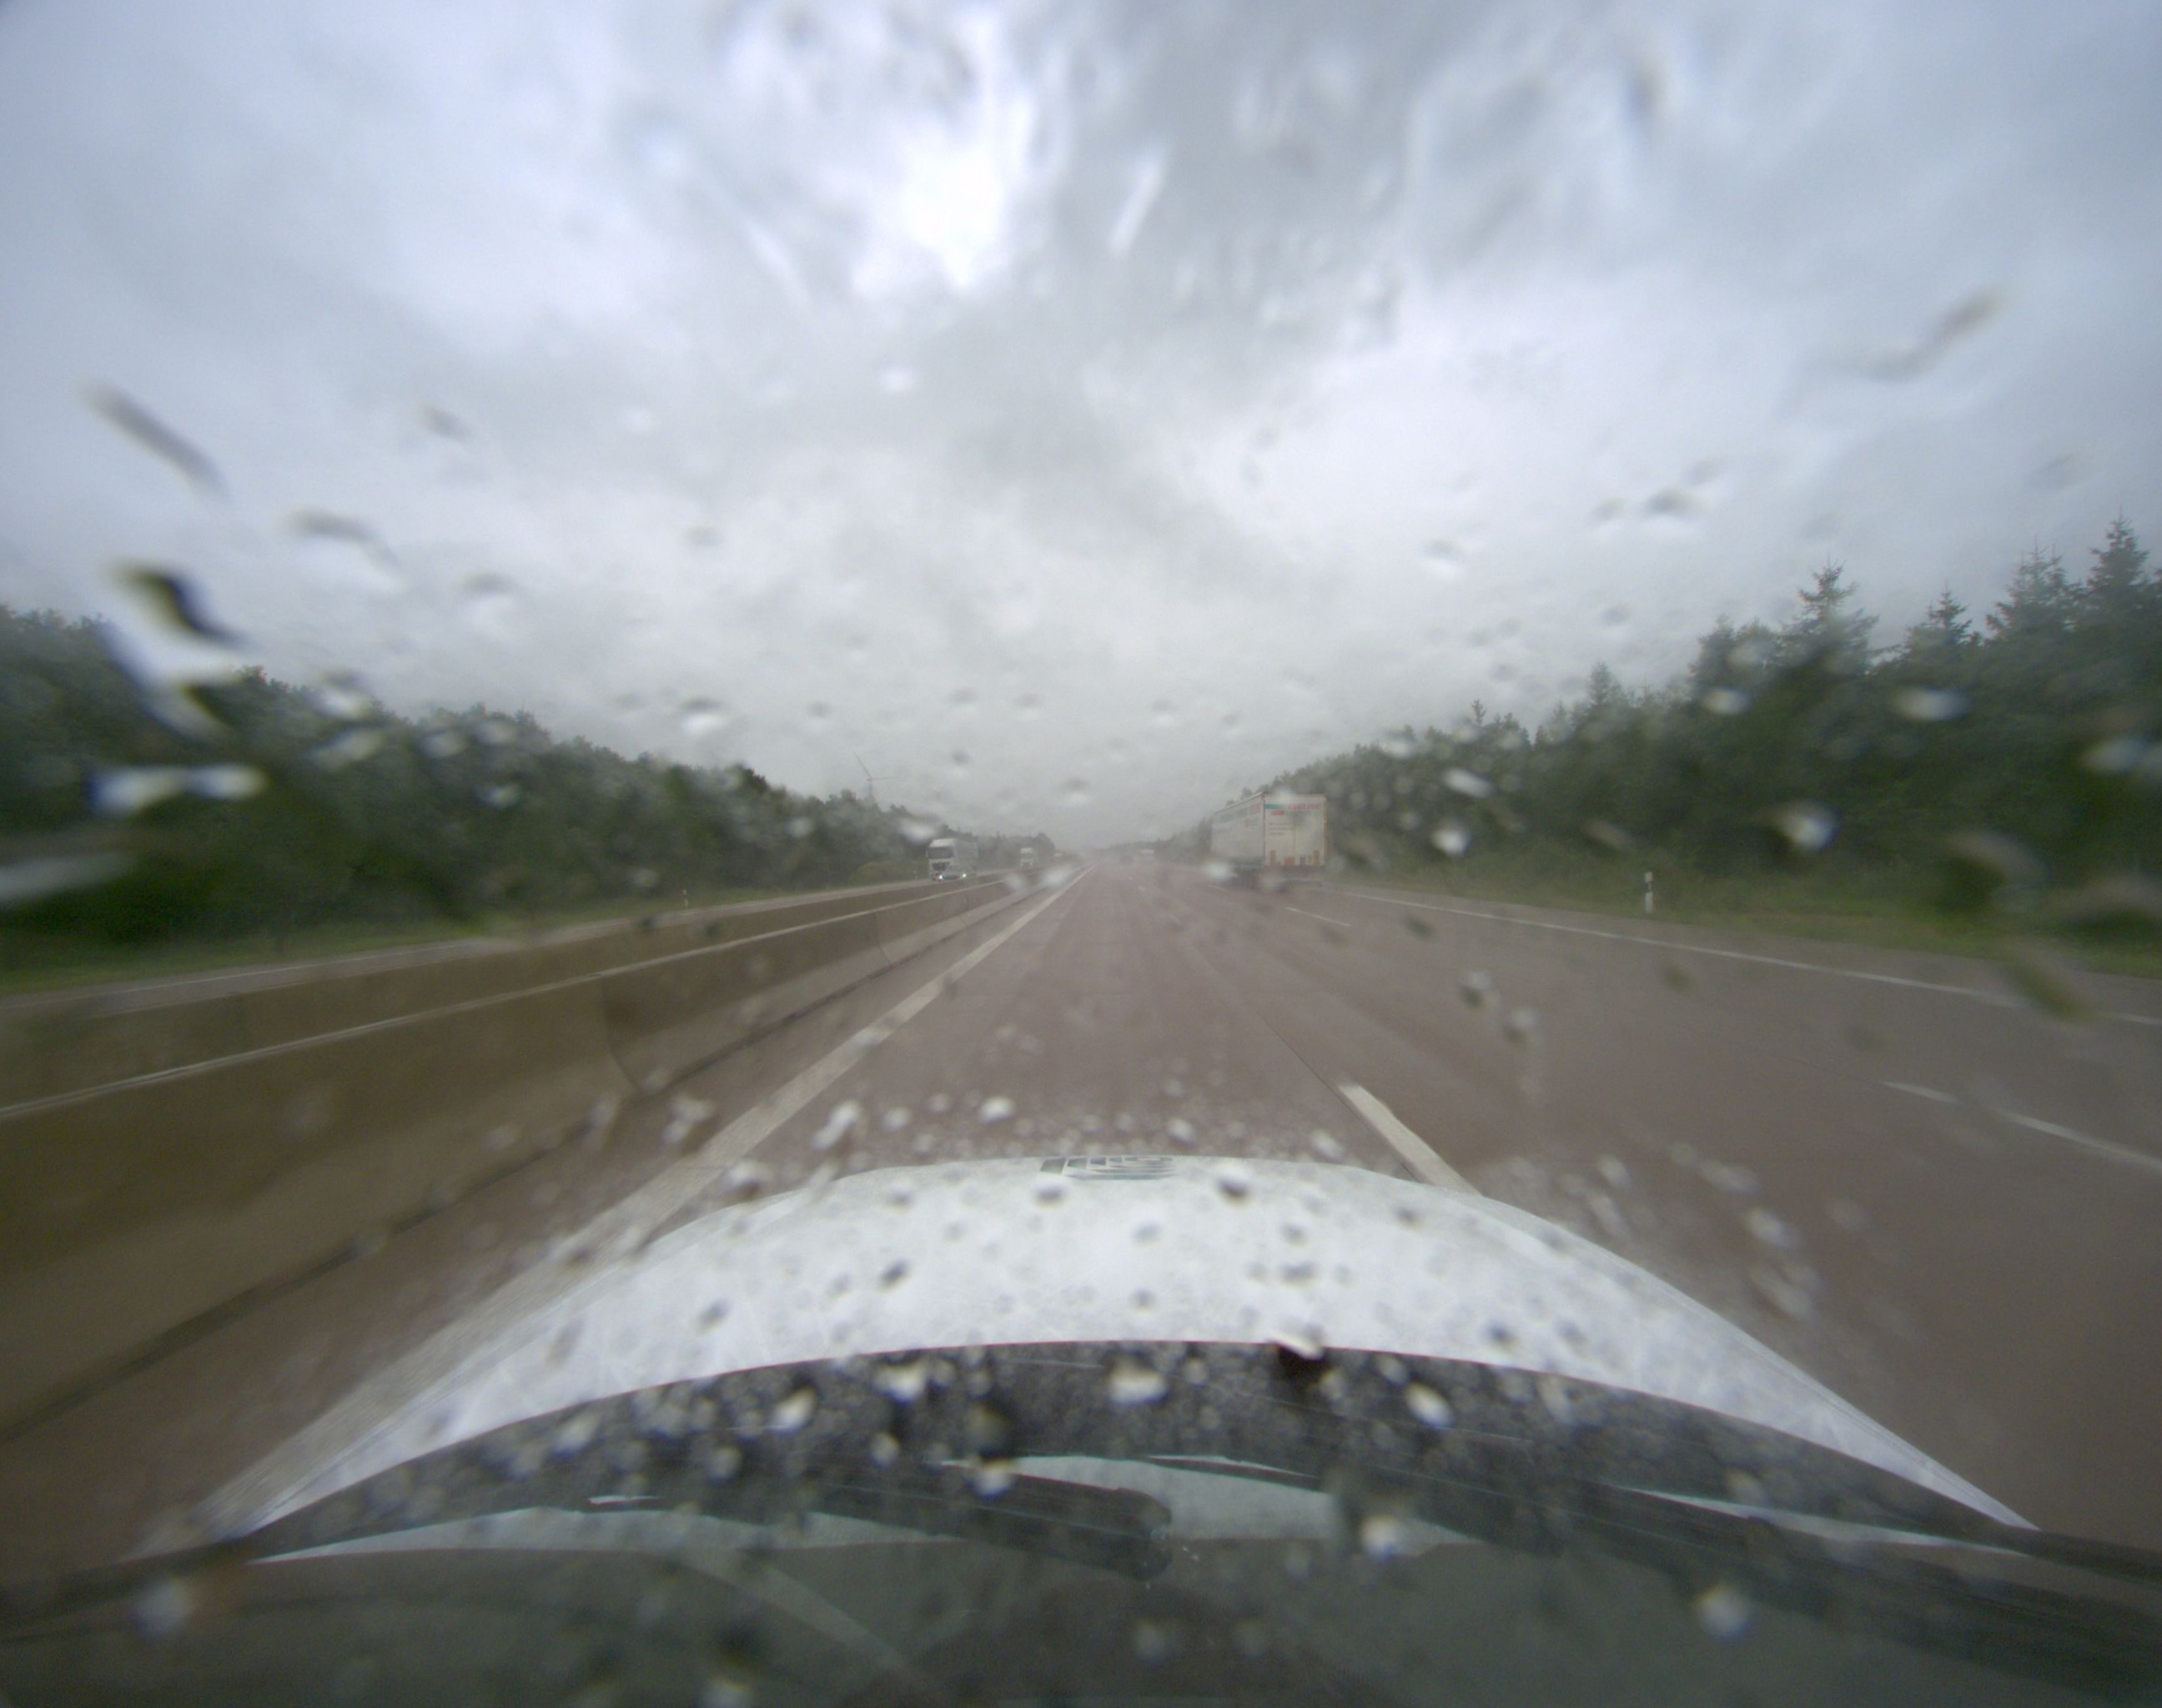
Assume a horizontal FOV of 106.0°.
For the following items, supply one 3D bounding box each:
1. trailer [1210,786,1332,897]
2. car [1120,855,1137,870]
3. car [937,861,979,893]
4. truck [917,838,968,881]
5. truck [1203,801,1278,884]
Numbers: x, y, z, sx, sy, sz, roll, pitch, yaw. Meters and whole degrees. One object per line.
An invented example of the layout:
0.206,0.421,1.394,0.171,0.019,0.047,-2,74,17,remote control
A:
8.524,-0.532,38.608,2.842,4.231,13.135,-3,0,1,trailer
6.618,1.173,113.144,2.165,1.981,4.132,-3,0,2,car
-7.439,1.388,49.534,1.781,1.796,3.879,-1,0,2,car
-13.855,0.525,82.230,3.460,3.888,7.465,-5,-1,1,truck
8.676,-0.606,45.072,2.870,4.106,6.351,-3,0,1,truck
